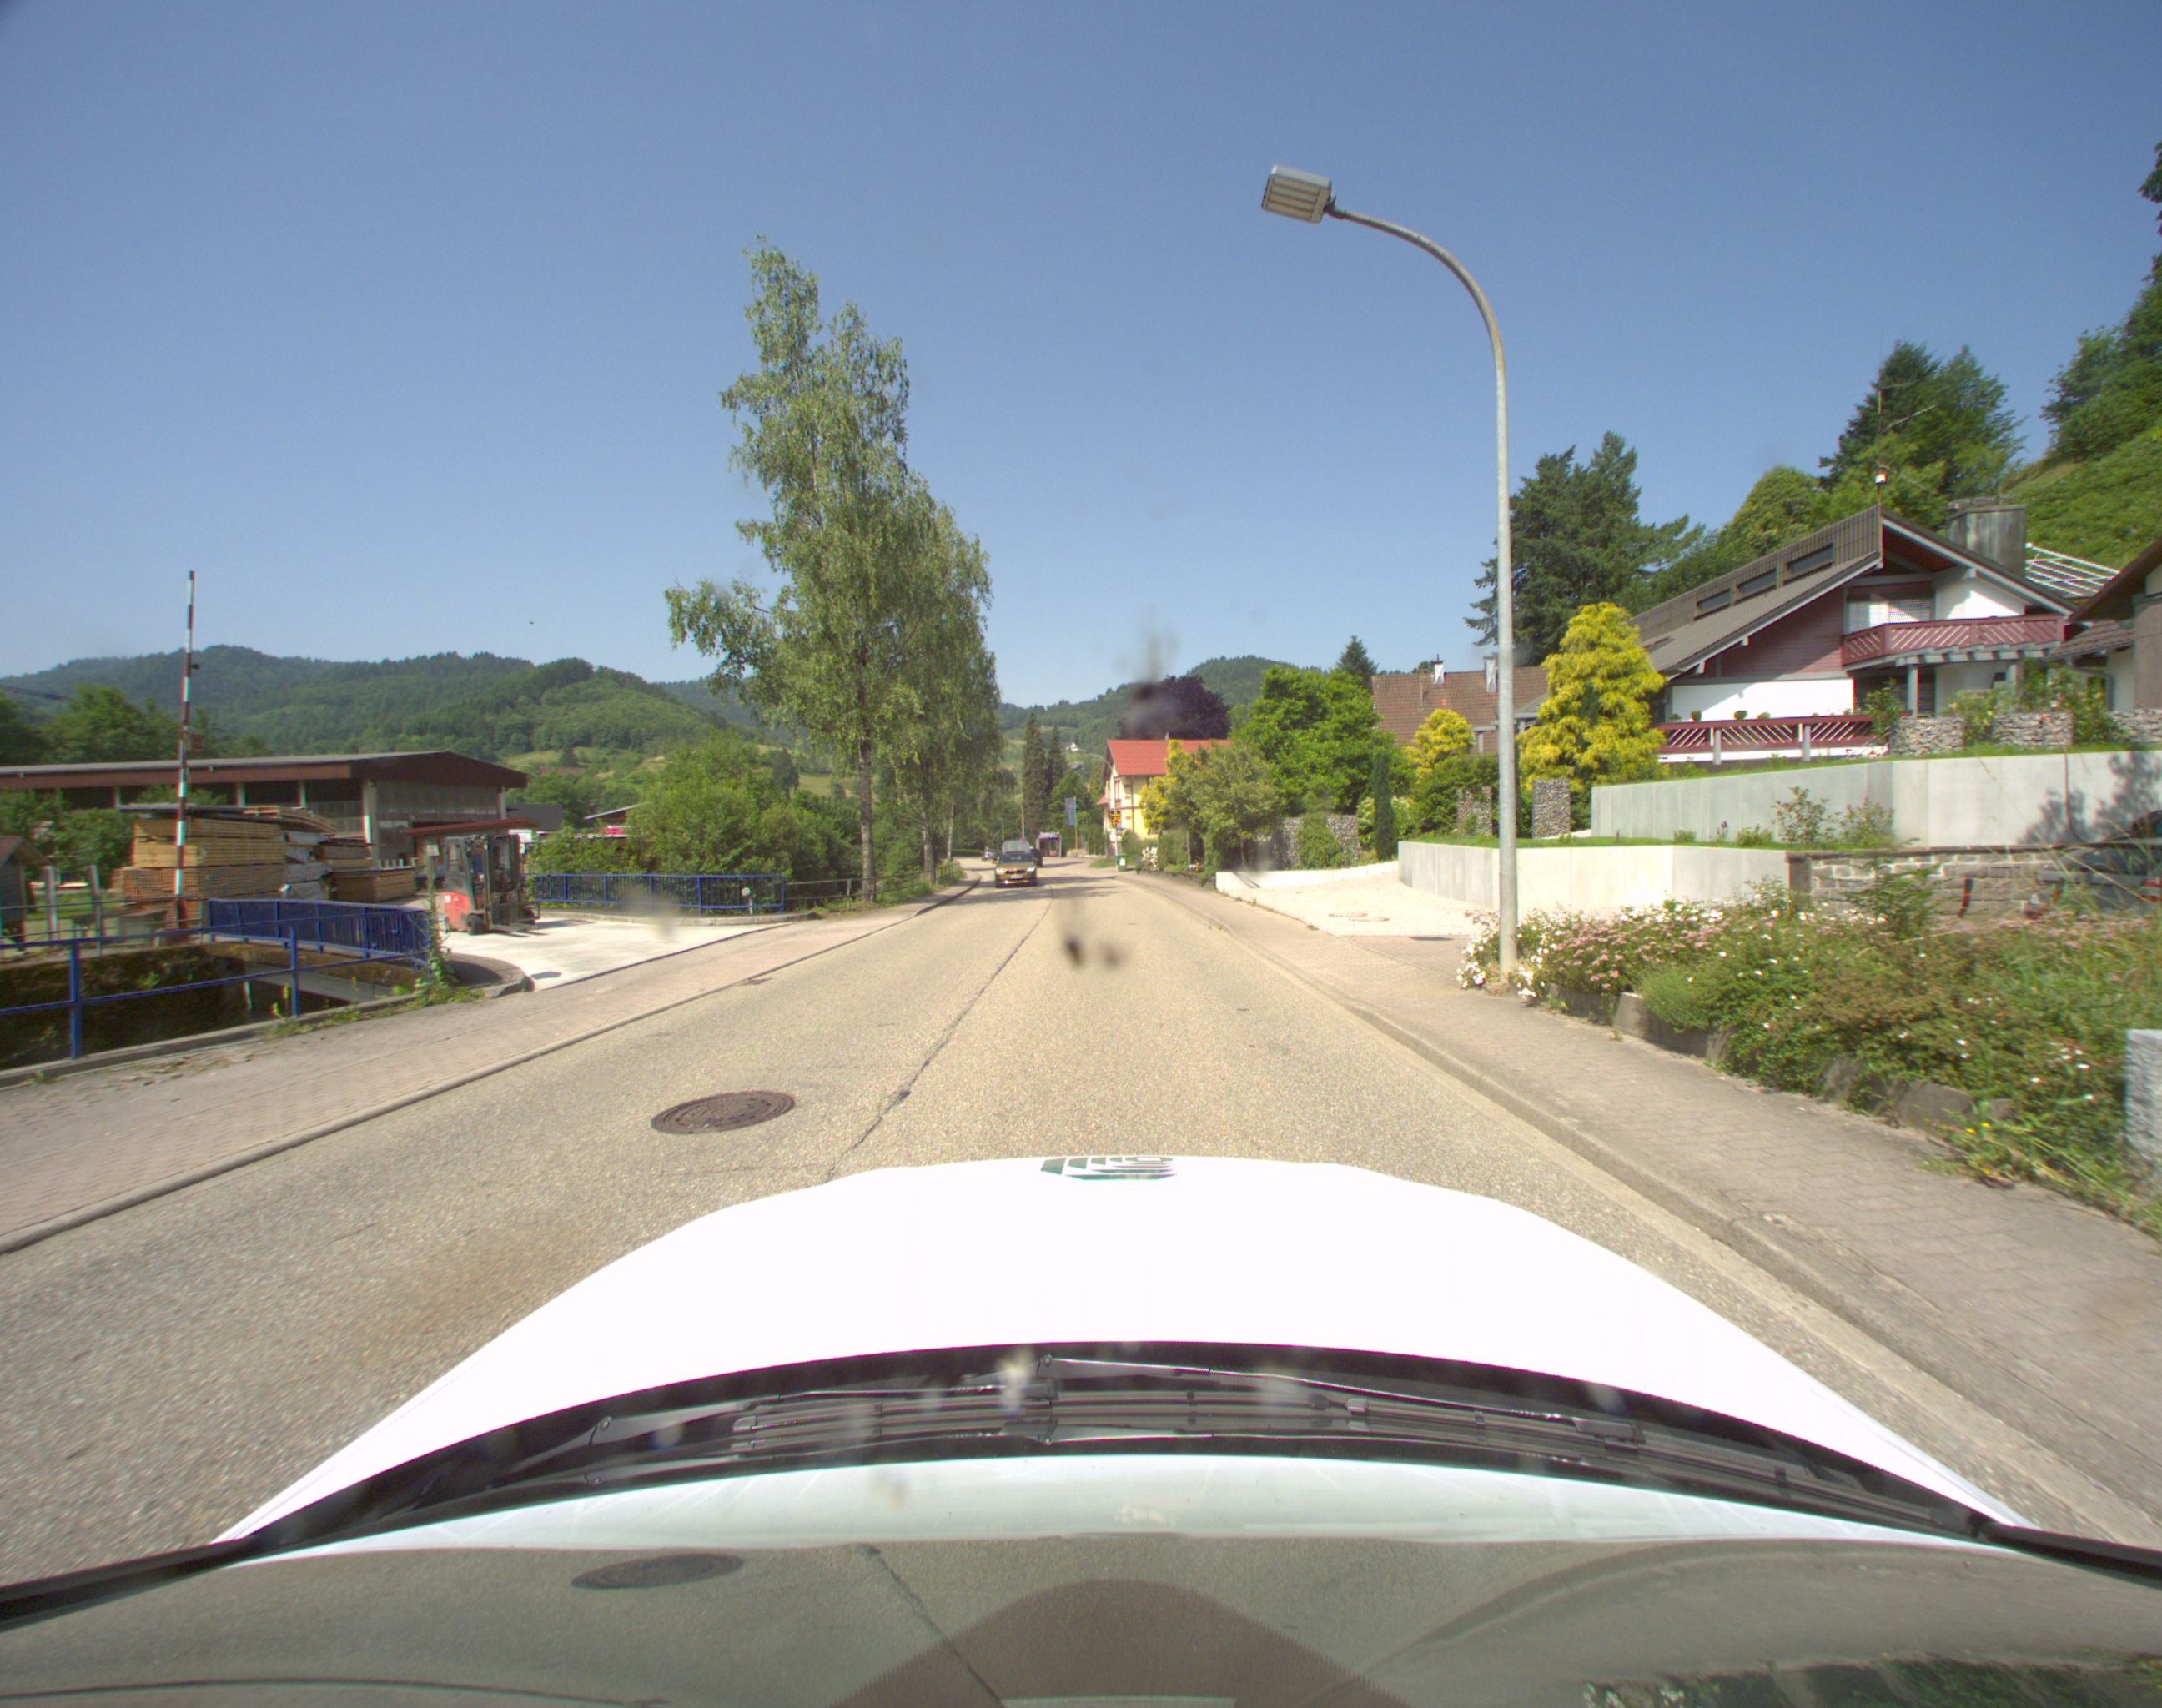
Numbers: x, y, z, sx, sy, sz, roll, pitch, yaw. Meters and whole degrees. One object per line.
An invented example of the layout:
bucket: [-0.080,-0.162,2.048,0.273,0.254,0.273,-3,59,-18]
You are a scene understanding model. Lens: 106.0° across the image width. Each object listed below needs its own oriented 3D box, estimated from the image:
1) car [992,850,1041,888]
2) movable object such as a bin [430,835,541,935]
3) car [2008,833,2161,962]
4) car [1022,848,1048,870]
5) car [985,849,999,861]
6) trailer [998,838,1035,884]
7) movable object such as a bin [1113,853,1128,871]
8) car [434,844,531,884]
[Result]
car: [-2.756,0.615,35.841,1.808,1.500,4.148,-2,0,-1]
movable object such as a bin: [-13.112,0.661,17.934,2.099,2.072,1.143,-2,0,29]
car: [14.234,0.461,9.877,3.712,1.470,1.727,-1,0,8]
car: [-4.002,0.421,70.758,1.918,1.698,3.778,-2,0,-8]
car: [-11.163,0.092,101.974,1.627,1.422,3.391,-1,0,-6]
trailer: [-3.107,0.299,39.875,1.462,2.077,3.669,-2,0,-1]
movable object such as a bin: [2.397,0.477,49.471,0.808,1.042,0.577,-2,1,-7]
car: [-33.886,0.559,46.175,1.974,2.013,4.026,-3,0,40]
